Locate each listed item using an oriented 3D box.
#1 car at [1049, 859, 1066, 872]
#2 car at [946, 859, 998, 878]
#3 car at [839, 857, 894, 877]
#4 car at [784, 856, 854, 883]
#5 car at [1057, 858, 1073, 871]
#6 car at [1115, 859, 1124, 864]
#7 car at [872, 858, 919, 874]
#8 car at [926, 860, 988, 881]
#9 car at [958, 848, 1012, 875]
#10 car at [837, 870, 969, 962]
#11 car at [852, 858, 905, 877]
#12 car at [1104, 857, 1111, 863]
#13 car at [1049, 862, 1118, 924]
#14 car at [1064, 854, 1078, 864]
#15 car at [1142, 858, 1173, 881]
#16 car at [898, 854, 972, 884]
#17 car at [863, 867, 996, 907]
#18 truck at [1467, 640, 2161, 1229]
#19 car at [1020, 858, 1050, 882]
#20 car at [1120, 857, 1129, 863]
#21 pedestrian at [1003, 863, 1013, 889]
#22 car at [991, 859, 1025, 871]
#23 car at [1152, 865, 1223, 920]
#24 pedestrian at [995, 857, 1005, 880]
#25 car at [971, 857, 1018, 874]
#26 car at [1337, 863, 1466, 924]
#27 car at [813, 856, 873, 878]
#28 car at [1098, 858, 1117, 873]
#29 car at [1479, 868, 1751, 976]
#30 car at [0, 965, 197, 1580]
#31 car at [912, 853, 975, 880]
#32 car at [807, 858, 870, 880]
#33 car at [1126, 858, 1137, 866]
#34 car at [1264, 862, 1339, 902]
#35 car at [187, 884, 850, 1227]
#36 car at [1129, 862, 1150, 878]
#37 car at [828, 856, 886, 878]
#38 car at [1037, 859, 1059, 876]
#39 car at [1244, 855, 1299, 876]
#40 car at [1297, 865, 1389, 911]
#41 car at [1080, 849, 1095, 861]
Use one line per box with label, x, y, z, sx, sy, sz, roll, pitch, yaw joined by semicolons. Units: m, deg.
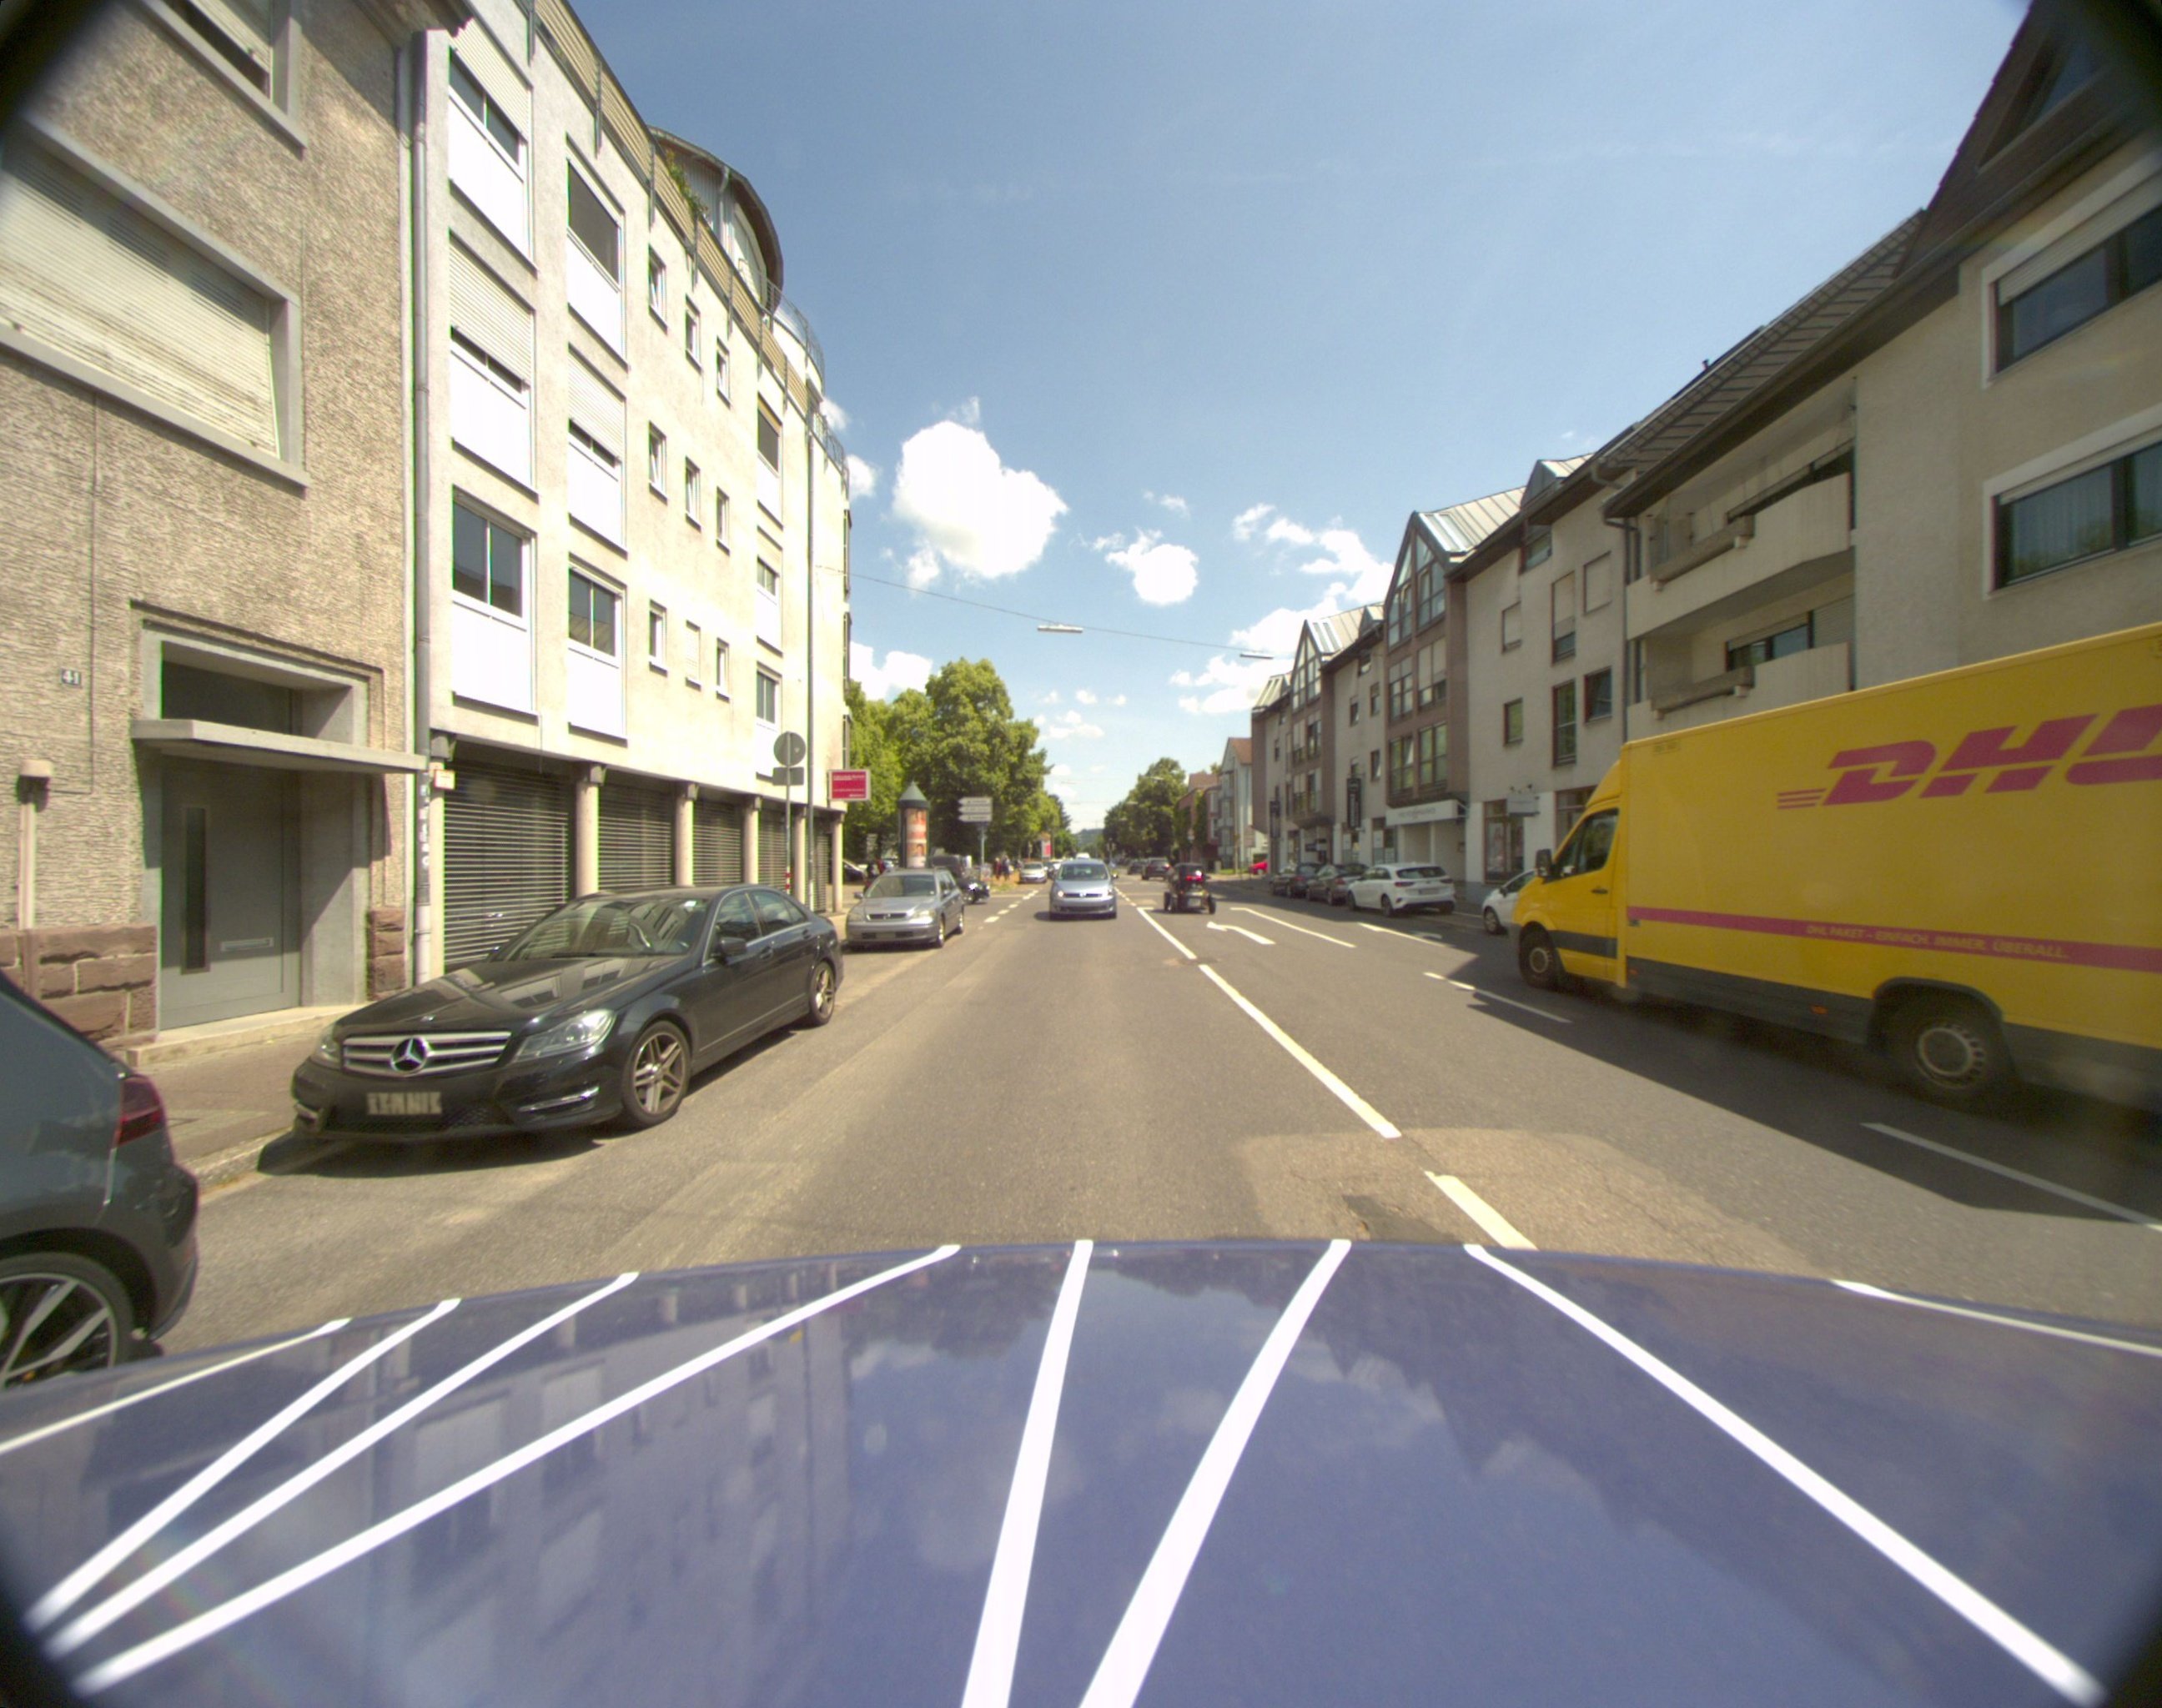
car;-2.710;1.273;87.465;1.721;1.434;4.112;-2;0;2
car;-9.121;1.207;63.799;3.996;1.464;1.717;-2;0;2
car;-17.577;1.078;62.432;3.996;1.577;1.805;1;0;2
car;-17.090;1.022;49.679;3.998;1.669;1.701;1;0;-3
car;-1.973;1.328;94.900;1.867;1.516;4.208;-1;0;1
car;9.342;1.803;183.689;1.758;1.325;3.607;-1;0;-1
car;-17.610;1.110;72.410;3.996;1.464;1.805;1;0;2
car;-8.653;1.126;53.270;3.997;1.390;1.808;-1;0;-1
car;-8.803;0.708;69.974;4.614;2.263;2.106;-2;0;1
car;-3.339;1.104;15.029;1.682;1.446;4.142;-2;0;-1
car;-17.236;1.131;64.748;3.996;1.464;1.805;1;0;2
car;6.861;1.435;196.623;1.752;1.499;3.999;-1;0;-1
car;0.075;1.010;21.159;1.747;1.513;4.223;0;0;0
car;-1.360;0.690;104.258;1.775;1.434;3.338;-1;0;1
car;5.566;1.124;55.806;1.817;1.611;4.441;1;-1;-1
car;-8.724;0.874;45.640;3.997;1.740;2.016;-1;0;-1
car;-5.587;1.209;28.507;4.593;1.357;2.000;-1;0;-2
truck;6.288;0.404;6.544;2.231;2.755;7.565;2;0;2
car;-3.053;1.061;51.011;1.771;1.476;3.890;-1;0;-1
car;9.340;1.297;162.794;1.758;1.325;3.607;-1;0;-1
pedestrian;-5.126;1.548;53.561;0.618;1.754;0.737;-1;1;0
car;-8.424;1.232;87.417;3.849;1.350;1.628;-1;0;-8
car;3.014;1.070;22.018;1.501;1.450;2.721;0;0;-4
pedestrian;-5.715;1.009;53.537;0.618;1.584;0.737;-1;1;0
car;-8.326;1.149;73.667;4.336;1.485;1.808;-2;0;-1
car;9.166;1.068;22.189;1.844;1.480;4.386;-2;0;0
car;-17.829;0.967;57.103;3.998;1.631;1.680;1;0;-2
car;2.719;1.184;78.615;1.867;1.516;4.292;-1;0;0
car;9.317;1.085;13.808;1.844;1.480;4.386;-2;0;0
car;-3.361;1.023;0.169;1.656;1.412;4.048;0;0;-2
car;-8.677;0.807;48.277;3.774;1.657;1.663;0;0;-4
car;-17.344;1.060;54.468;3.998;1.474;1.680;1;0;-2
car;9.368;1.479;140.308;1.758;1.325;3.607;-1;0;-1
car;9.321;1.142;32.501;1.844;1.439;4.969;-2;0;2
car;-3.355;1.044;5.835;1.716;1.464;4.438;0;0;1
car;5.654;1.569;74.273;1.747;1.411;4.223;2;0;1
car;-17.579;1.026;59.677;3.996;1.652;1.805;1;0;2
car;-2.828;1.171;66.040;1.667;1.419;4.000;0;0;1
car;15.690;0.948;62.696;3.997;1.443;1.733;-4;-1;-1
car;9.341;1.161;27.448;1.844;1.375;4.327;-2;0;1
car;0.833;0.111;95.611;1.720;1.406;4.590;0;0;3
